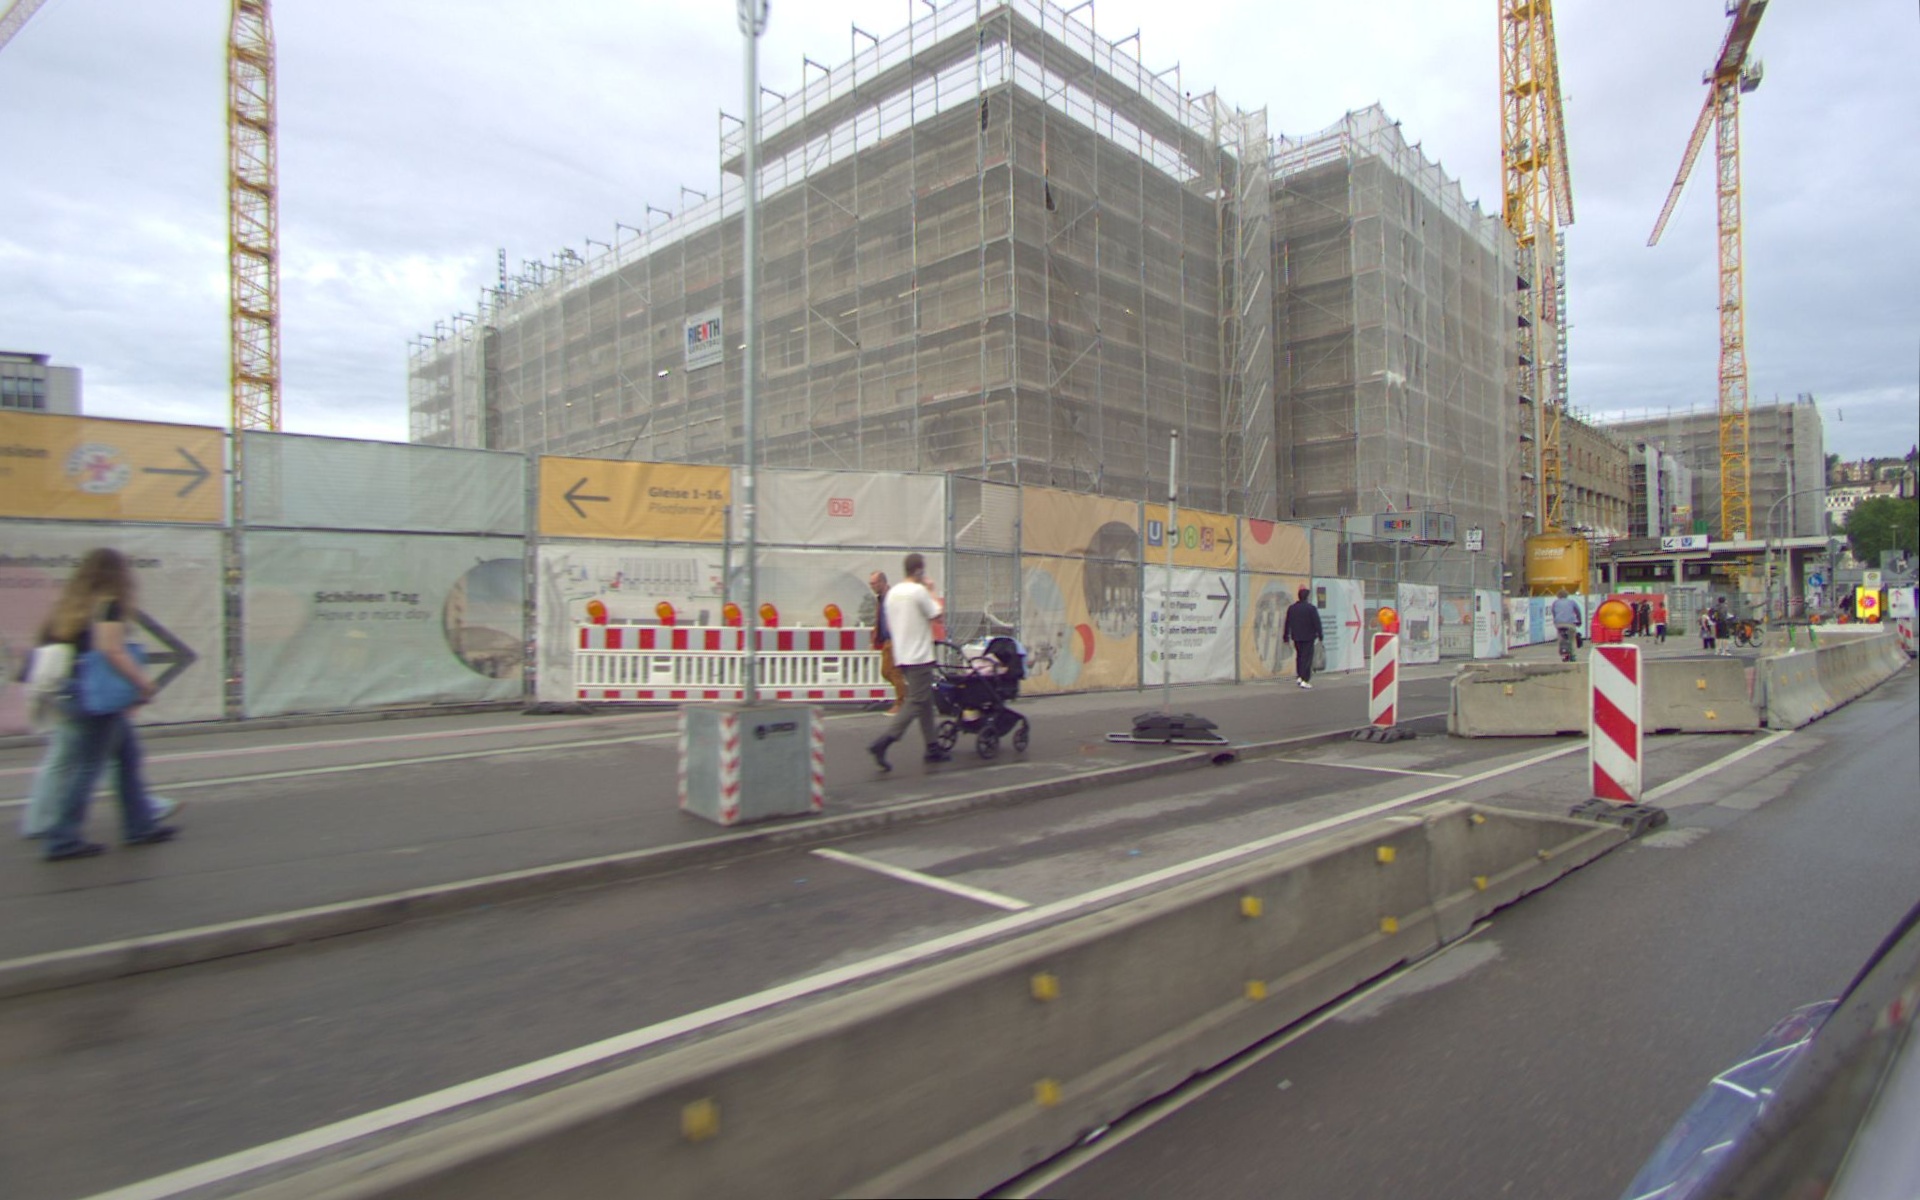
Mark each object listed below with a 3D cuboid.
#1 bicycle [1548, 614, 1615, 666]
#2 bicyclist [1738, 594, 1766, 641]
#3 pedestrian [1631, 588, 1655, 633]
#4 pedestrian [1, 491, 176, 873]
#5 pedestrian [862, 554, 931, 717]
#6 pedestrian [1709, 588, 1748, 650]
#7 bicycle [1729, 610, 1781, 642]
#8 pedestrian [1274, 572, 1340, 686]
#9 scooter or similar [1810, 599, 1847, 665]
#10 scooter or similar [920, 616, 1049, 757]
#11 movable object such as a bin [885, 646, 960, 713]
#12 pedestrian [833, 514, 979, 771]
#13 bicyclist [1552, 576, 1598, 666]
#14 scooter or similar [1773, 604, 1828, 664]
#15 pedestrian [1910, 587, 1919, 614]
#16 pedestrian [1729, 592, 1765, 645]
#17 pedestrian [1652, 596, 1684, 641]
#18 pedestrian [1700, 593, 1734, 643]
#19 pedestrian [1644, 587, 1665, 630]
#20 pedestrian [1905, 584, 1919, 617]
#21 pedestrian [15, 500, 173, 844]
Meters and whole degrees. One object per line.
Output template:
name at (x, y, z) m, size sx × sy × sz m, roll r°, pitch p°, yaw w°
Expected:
bicycle at (14.580, 0.911, 23.713) m, size 1.946 × 1.126 × 0.767 m, roll 0°, pitch -1°, yaw -41°
bicyclist at (29.388, 0.650, 37.543) m, size 0.425 × 1.726 × 0.698 m, roll 0°, pitch -1°, yaw -27°
pedestrian at (31.705, 0.475, 46.985) m, size 0.615 × 2.039 × 0.642 m, roll 0°, pitch -1°, yaw -21°
pedestrian at (-4.752, 0.409, 5.553) m, size 0.681 × 1.913 × 0.685 m, roll 0°, pitch -1°, yaw -40°
pedestrian at (-0.792, 0.414, 12.425) m, size 0.640 × 1.919 × 0.771 m, roll 0°, pitch -1°, yaw -20°
pedestrian at (25.431, 0.618, 33.488) m, size 0.849 × 2.037 × 0.789 m, roll 0°, pitch 0°, yaw -36°
bicycle at (29.589, 0.956, 37.650) m, size 1.951 × 1.148 × 0.757 m, roll 0°, pitch 0°, yaw -26°
pedestrian at (6.048, 0.489, 17.644) m, size 0.650 × 1.919 × 0.850 m, roll 0°, pitch -1°, yaw -40°
scooter or similar at (18.512, 0.667, 21.579) m, size 0.523 × 1.350 × 1.011 m, roll -1°, pitch -1°, yaw 37°
scooter or similar at (0.232, 0.767, 9.455) m, size 1.025 × 1.214 × 0.666 m, roll 0°, pitch -1°, yaw -40°
movable object such as a bin at (-0.461, 0.953, 12.340) m, size 0.761 × 0.743 × 0.600 m, roll 0°, pitch 0°, yaw -19°
pedestrian at (-0.461, 0.340, 8.658) m, size 0.955 × 2.042 × 0.804 m, roll 0°, pitch -1°, yaw -40°
bicyclist at (14.303, 0.475, 23.538) m, size 0.588 × 2.039 × 0.728 m, roll 0°, pitch -1°, yaw -40°
scooter or similar at (19.214, 0.764, 23.132) m, size 1.003 × 1.350 × 0.494 m, roll 0°, pitch -1°, yaw -18°
pedestrian at (64.847, 0.042, 68.521) m, size 0.722 × 1.847 × 0.645 m, roll 0°, pitch 0°, yaw -42°
pedestrian at (27.543, 0.648, 35.431) m, size 0.797 × 1.777 × 0.808 m, roll 2°, pitch 3°, yaw 28°
pedestrian at (28.188, 0.713, 40.305) m, size 0.699 × 1.749 × 0.744 m, roll 0°, pitch 1°, yaw -25°
pedestrian at (27.345, 0.648, 36.563) m, size 0.866 × 1.778 × 0.814 m, roll 0°, pitch -1°, yaw -41°
pedestrian at (32.950, 0.414, 48.020) m, size 0.618 × 2.039 × 0.576 m, roll -1°, pitch -1°, yaw 13°
pedestrian at (60.446, 0.018, 64.169) m, size 0.731 × 2.039 × 0.637 m, roll -1°, pitch 0°, yaw 39°
pedestrian at (-5.206, 0.401, 6.114) m, size 0.681 × 1.913 × 0.685 m, roll 0°, pitch -1°, yaw -40°
